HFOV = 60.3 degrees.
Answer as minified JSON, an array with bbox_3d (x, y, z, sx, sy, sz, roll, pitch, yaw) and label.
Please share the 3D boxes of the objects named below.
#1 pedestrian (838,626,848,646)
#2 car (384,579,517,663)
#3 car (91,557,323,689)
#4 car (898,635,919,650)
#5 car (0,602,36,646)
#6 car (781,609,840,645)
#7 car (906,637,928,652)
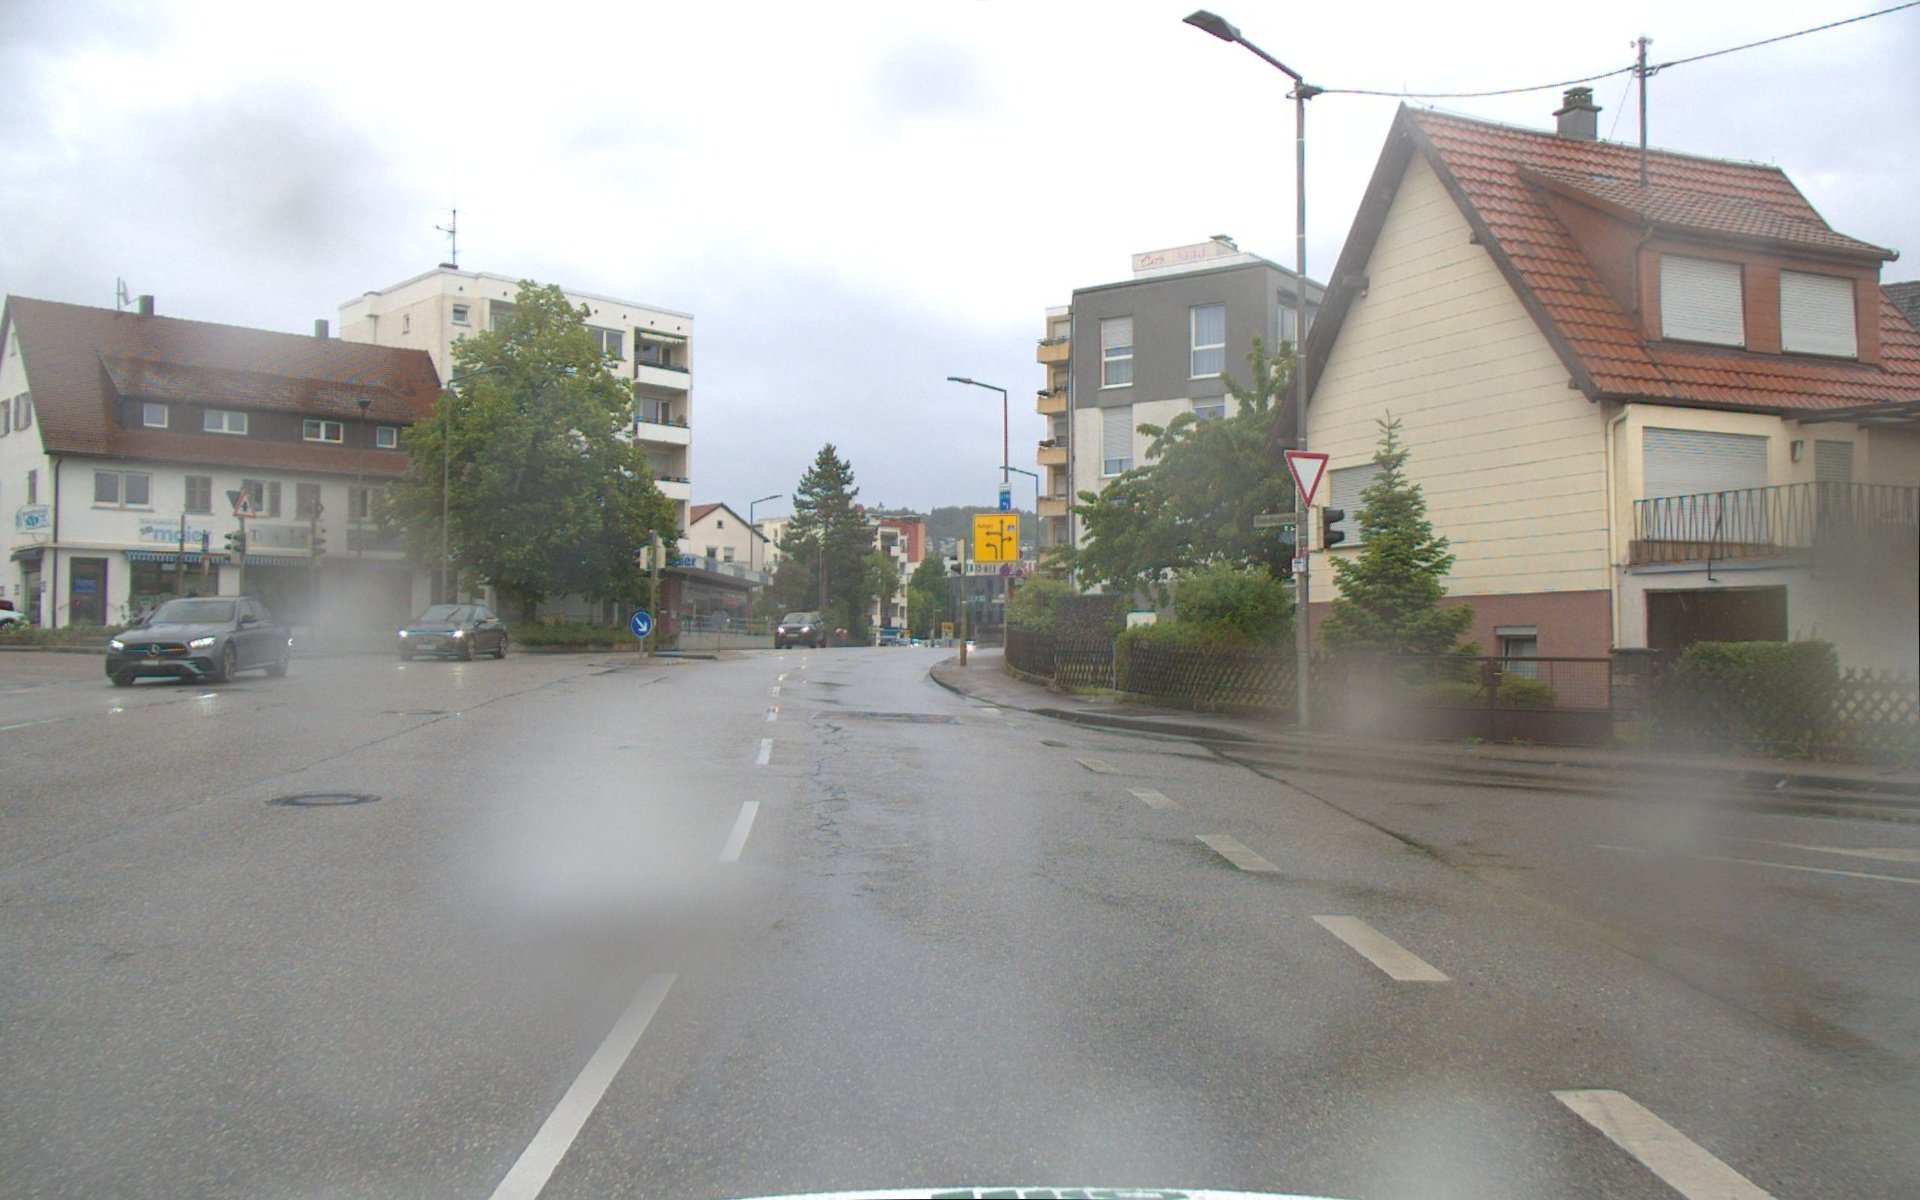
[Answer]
[{"bbox_3d":[-9.614,2.962,135.814,0.852,1.635,1.102,0,-3,-3],"label":"pedestrian"},{"bbox_3d":[-13.215,0.536,43.223,1.952,2.049,4.652,0,0,1],"label":"car"},{"bbox_3d":[-13.175,0.375,29.409,2.051,2.049,5.969,-2,0,-8],"label":"car"},{"bbox_3d":[-5.469,4.508,176.449,1.616,1.548,4.326,0,-2,6],"label":"car"},{"bbox_3d":[-35.211,0.847,58.652,3.962,1.553,1.971,1,-1,-40],"label":"car"},{"bbox_3d":[-6.824,1.203,75.902,1.764,1.584,4.321,0,-1,7],"label":"car"},{"bbox_3d":[-4.886,5.071,188.442,1.893,1.569,4.523,0,-2,6],"label":"car"}]
